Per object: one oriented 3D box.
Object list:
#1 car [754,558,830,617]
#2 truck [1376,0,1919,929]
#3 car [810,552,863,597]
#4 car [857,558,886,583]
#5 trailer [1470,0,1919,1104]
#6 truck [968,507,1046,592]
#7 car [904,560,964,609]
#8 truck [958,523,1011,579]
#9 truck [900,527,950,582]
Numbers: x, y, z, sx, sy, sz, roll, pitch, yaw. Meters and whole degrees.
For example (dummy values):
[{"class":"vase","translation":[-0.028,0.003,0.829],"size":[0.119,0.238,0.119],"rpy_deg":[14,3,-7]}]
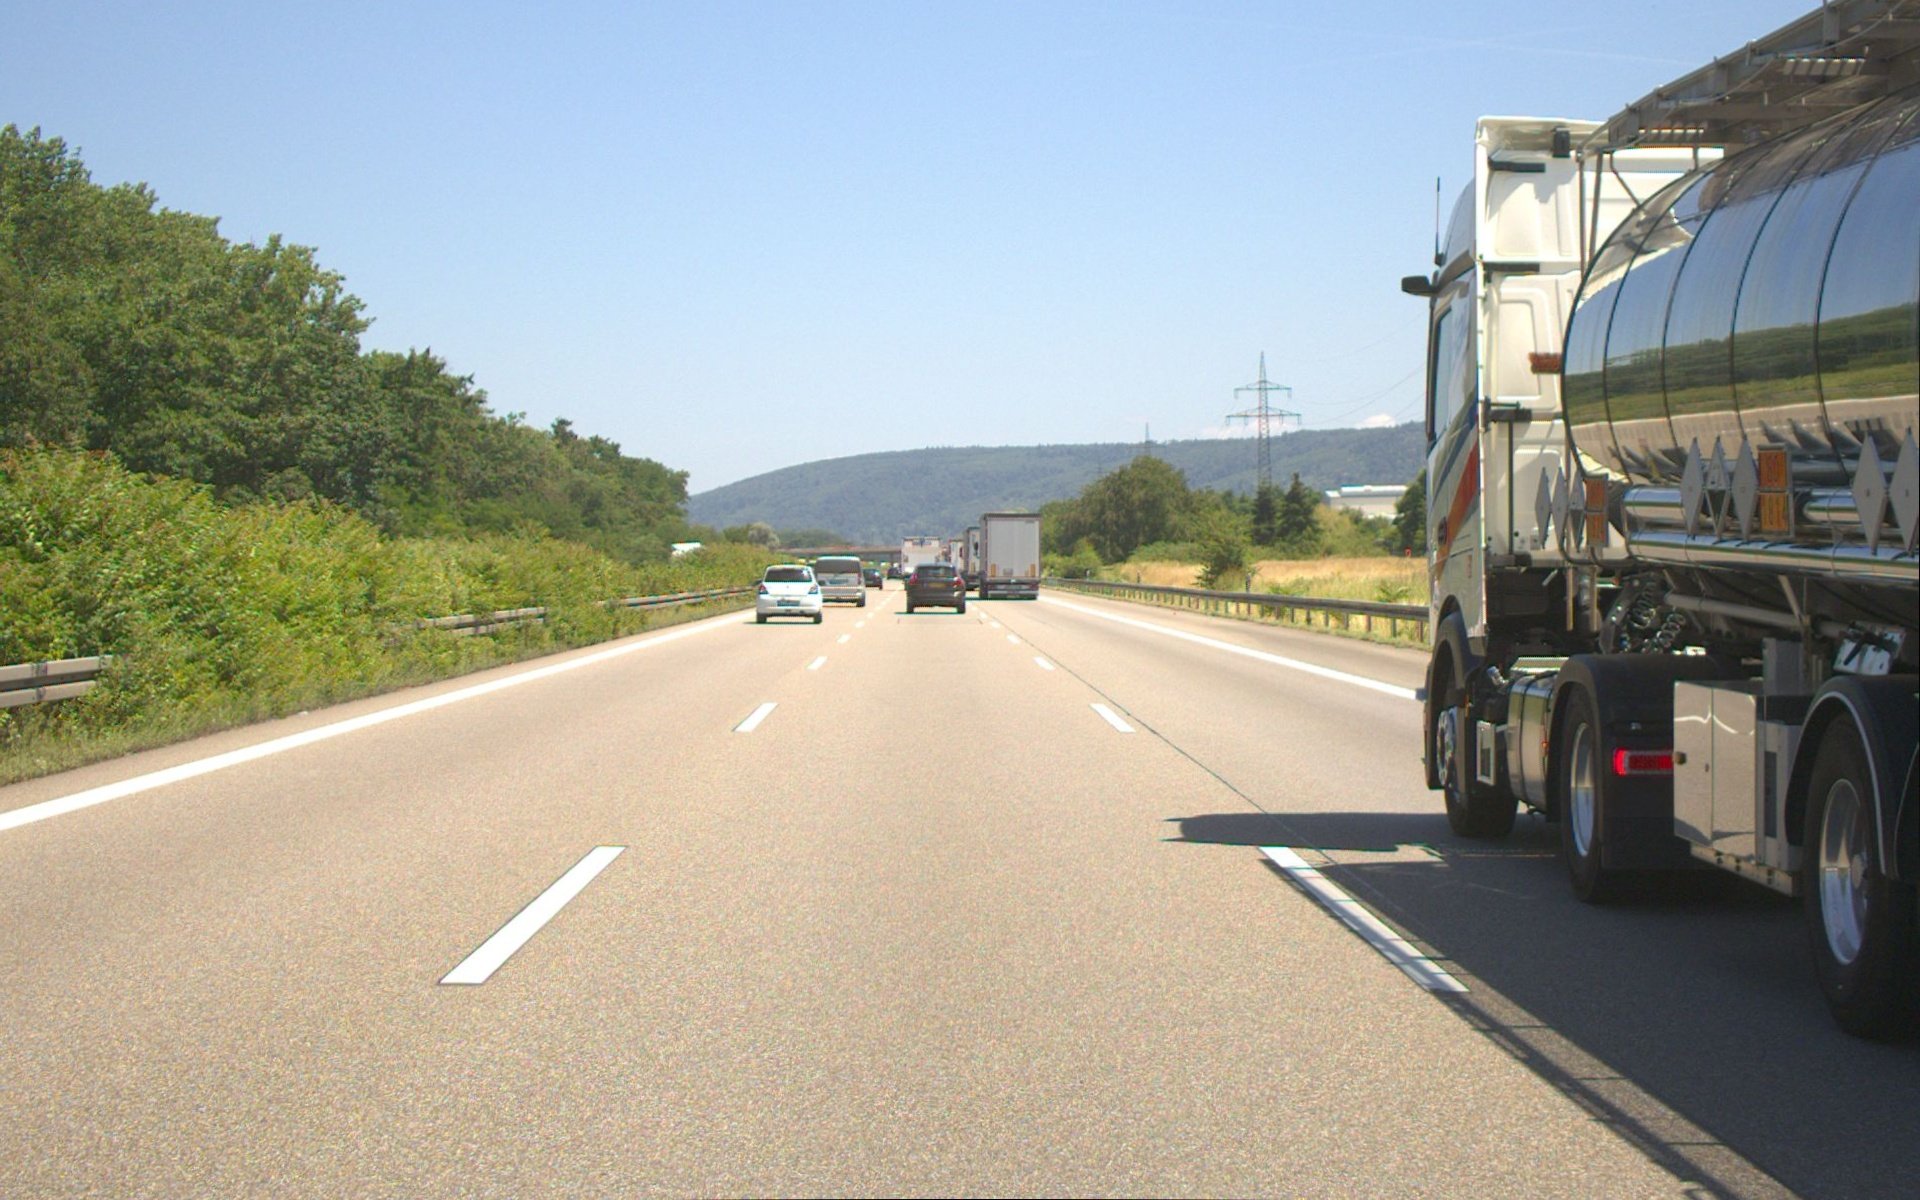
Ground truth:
[{"class":"car","translation":[-4.399,-0.343,90.235],"size":[1.806,1.463,4.000],"rpy_deg":[1,1,0]},{"class":"truck","translation":[3.885,-0.712,17.490],"size":[2.573,4.058,6.393],"rpy_deg":[1,1,-1]},{"class":"car","translation":[-4.604,-0.973,128.833],"size":[1.852,1.627,4.000],"rpy_deg":[1,1,0]},{"class":"car","translation":[-5.987,-1.994,231.896],"size":[1.852,1.627,4.000],"rpy_deg":[1,1,0]},{"class":"trailer","translation":[3.991,-0.621,11.698],"size":[2.580,4.060,11.104],"rpy_deg":[1,1,-1]},{"class":"truck","translation":[2.150,-2.410,162.942],"size":[3.265,3.844,11.632],"rpy_deg":[1,1,-1]},{"class":"car","translation":[-0.836,-0.502,111.305],"size":[1.885,1.510,4.000],"rpy_deg":[1,1,0]},{"class":"truck","translation":[1.550,-3.141,221.625],"size":[3.097,3.463,11.543],"rpy_deg":[1,1,-1]},{"class":"truck","translation":[-2.340,-3.014,226.648],"size":[3.097,3.463,11.543],"rpy_deg":[1,1,-1]}]
